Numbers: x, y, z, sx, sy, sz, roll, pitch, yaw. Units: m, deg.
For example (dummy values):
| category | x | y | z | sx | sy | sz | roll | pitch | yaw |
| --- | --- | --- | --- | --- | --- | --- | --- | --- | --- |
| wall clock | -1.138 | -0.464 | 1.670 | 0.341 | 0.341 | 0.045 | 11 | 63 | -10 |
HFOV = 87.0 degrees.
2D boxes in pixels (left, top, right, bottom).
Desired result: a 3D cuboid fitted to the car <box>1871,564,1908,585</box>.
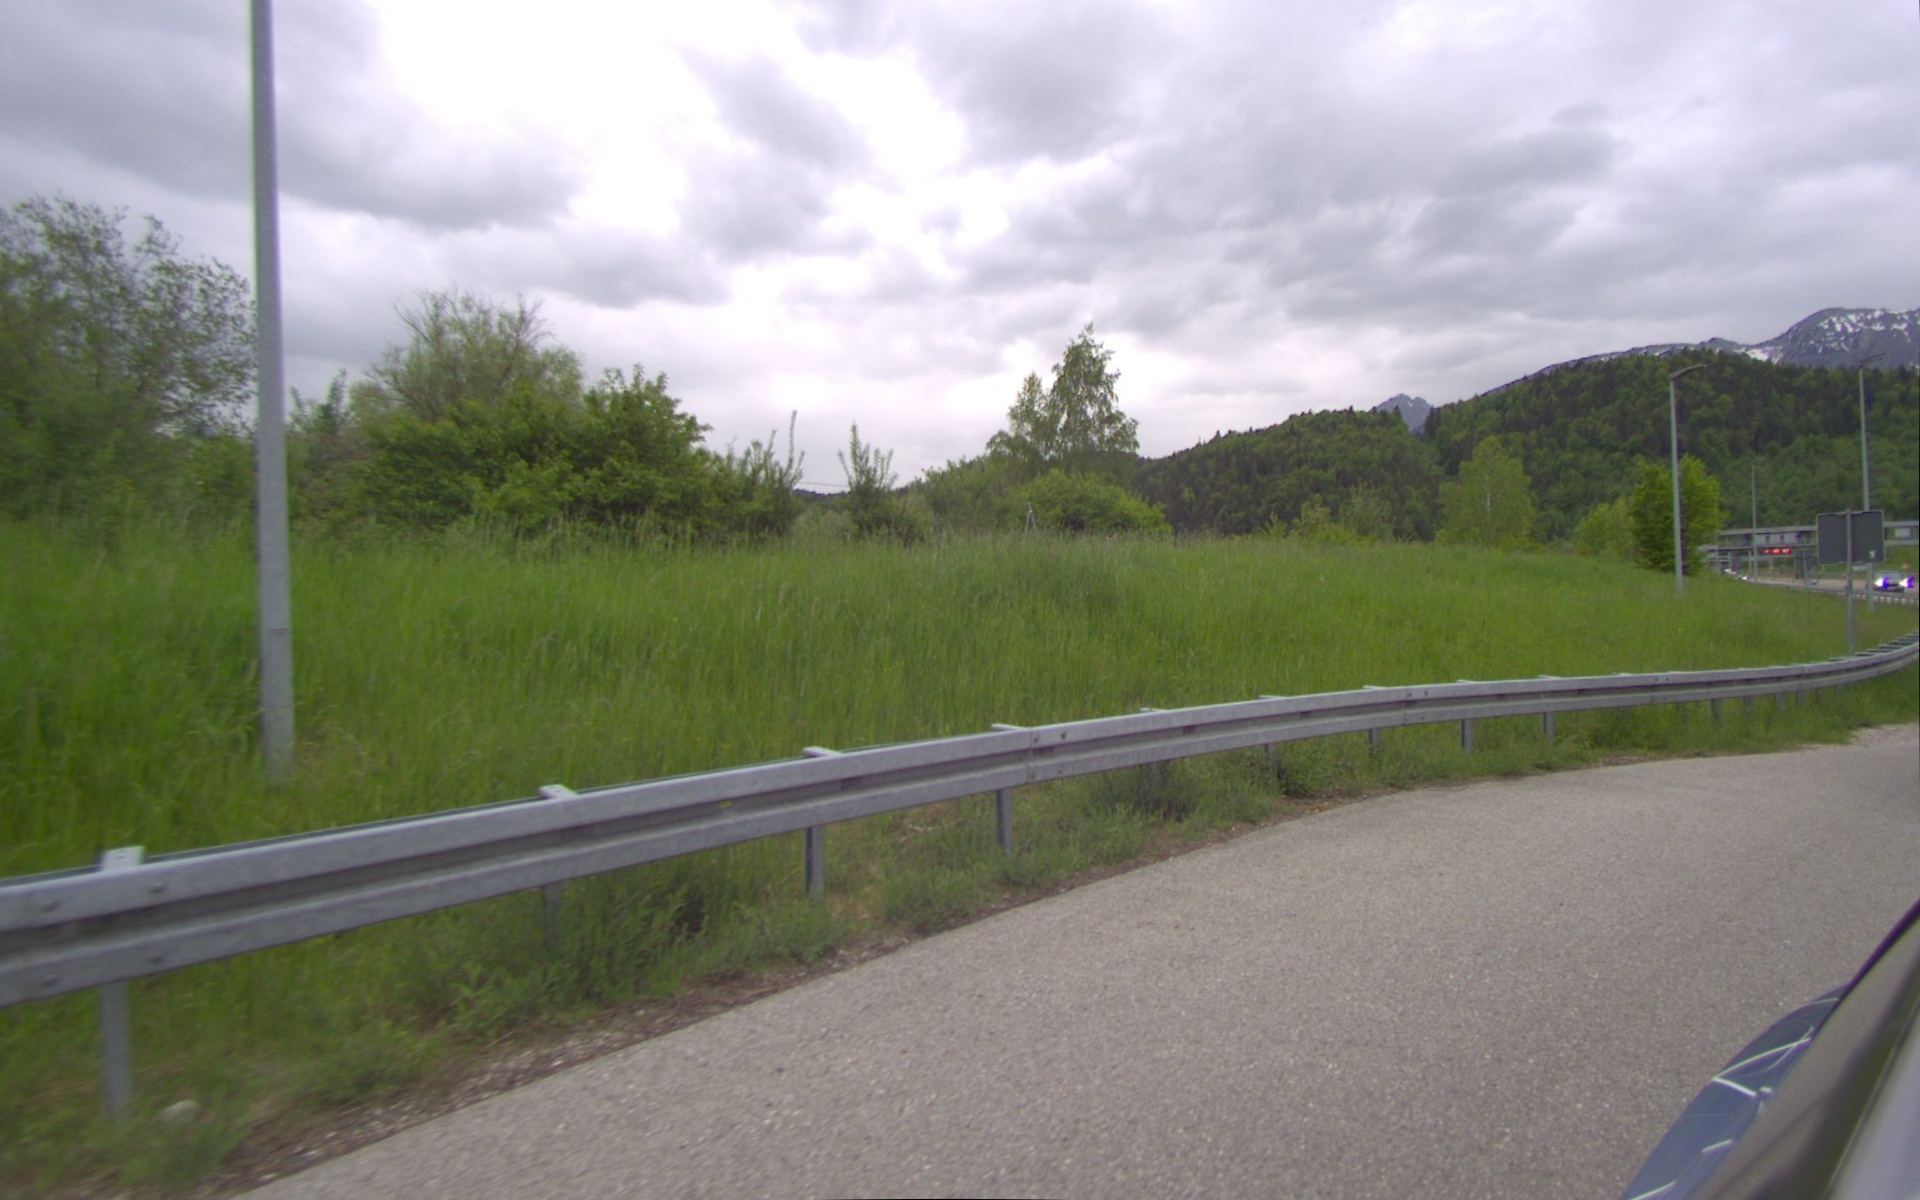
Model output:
| category | x | y | z | sx | sy | sz | roll | pitch | yaw |
| --- | --- | --- | --- | --- | --- | --- | --- | --- | --- |
| car | 76.809 | -2.113 | 83.679 | 1.711 | 1.659 | 4.293 | 1 | 2 | 36 |
